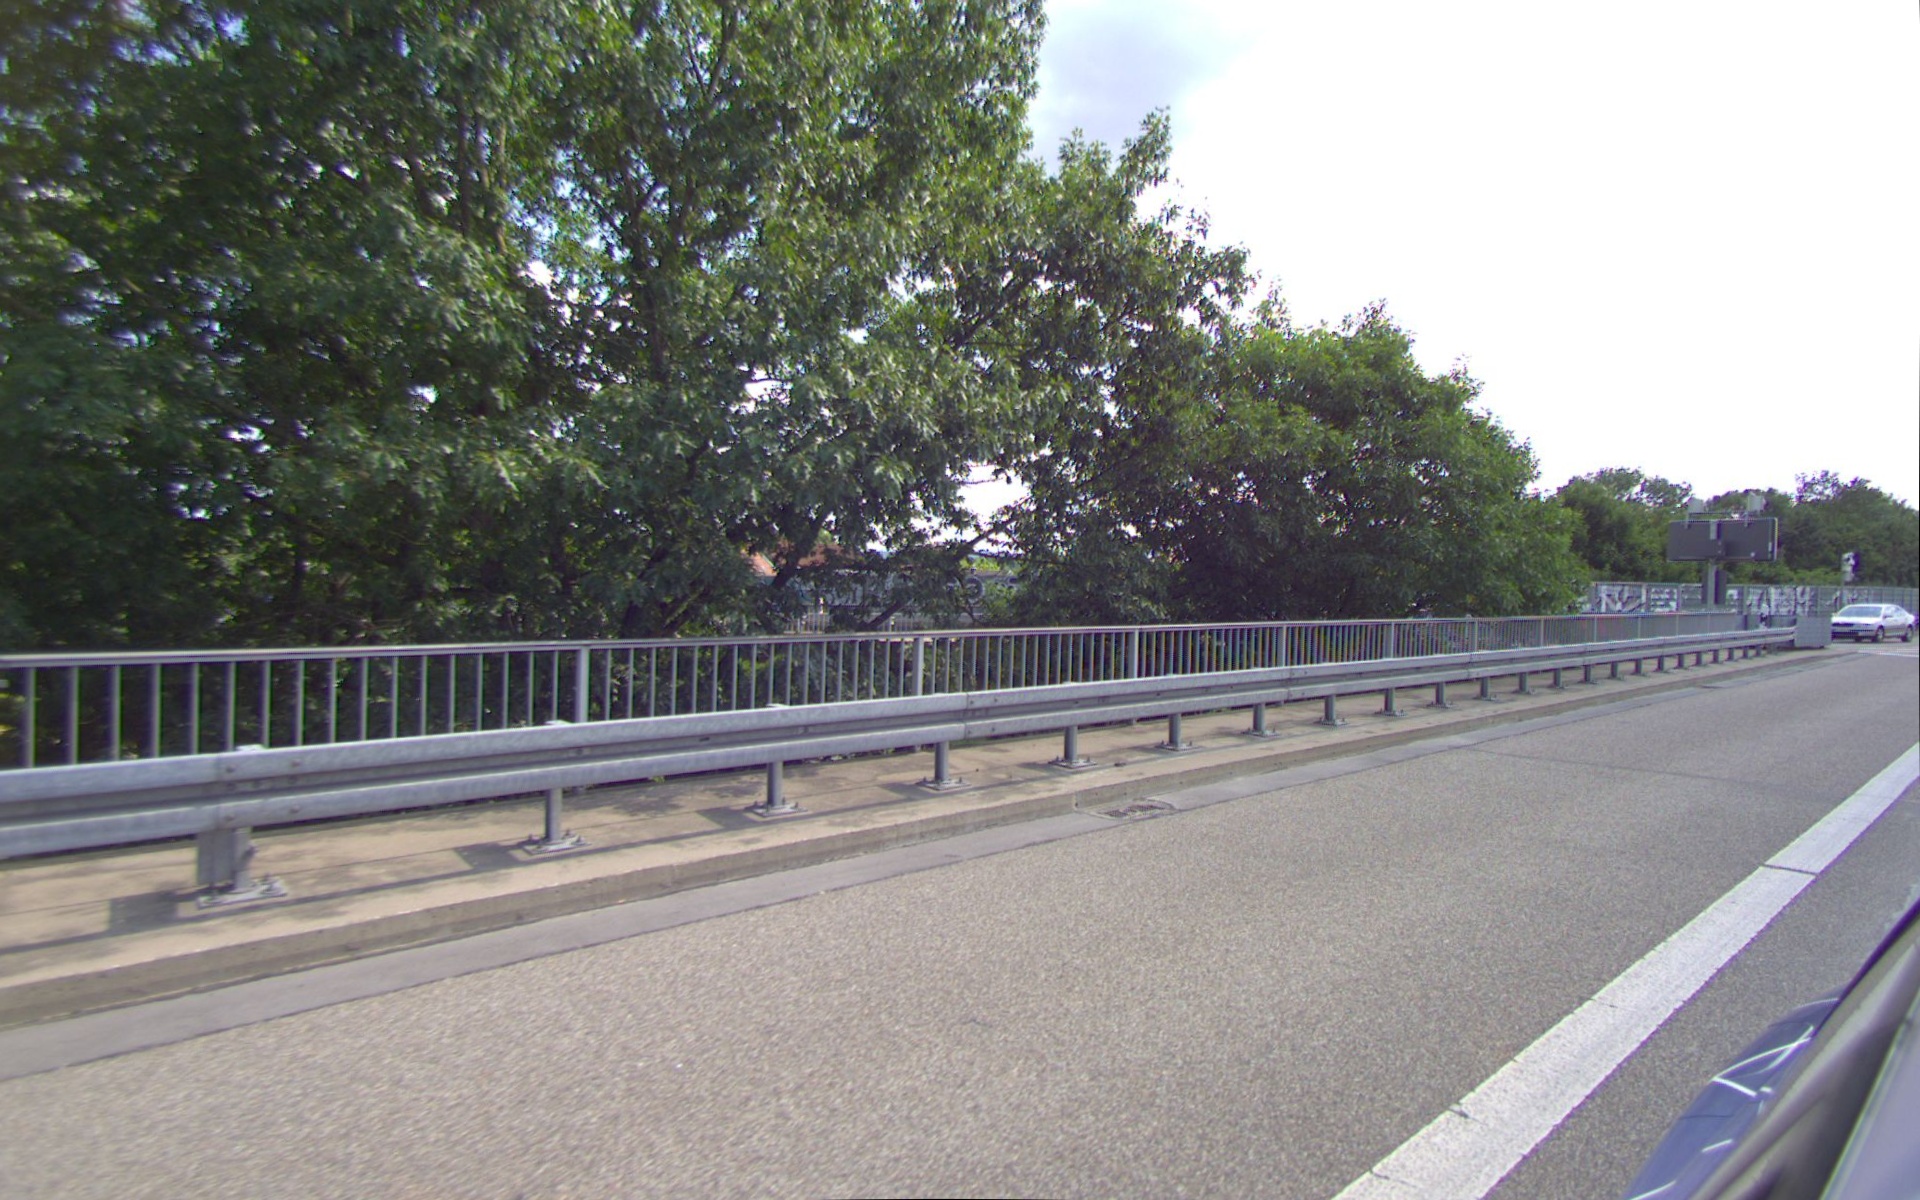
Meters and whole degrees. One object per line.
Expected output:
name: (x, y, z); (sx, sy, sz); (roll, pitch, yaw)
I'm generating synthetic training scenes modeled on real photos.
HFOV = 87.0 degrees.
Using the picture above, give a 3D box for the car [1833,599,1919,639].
car: (34.992, 0.676, 38.431); (3.697, 1.429, 1.770); (0, 0, -32)
